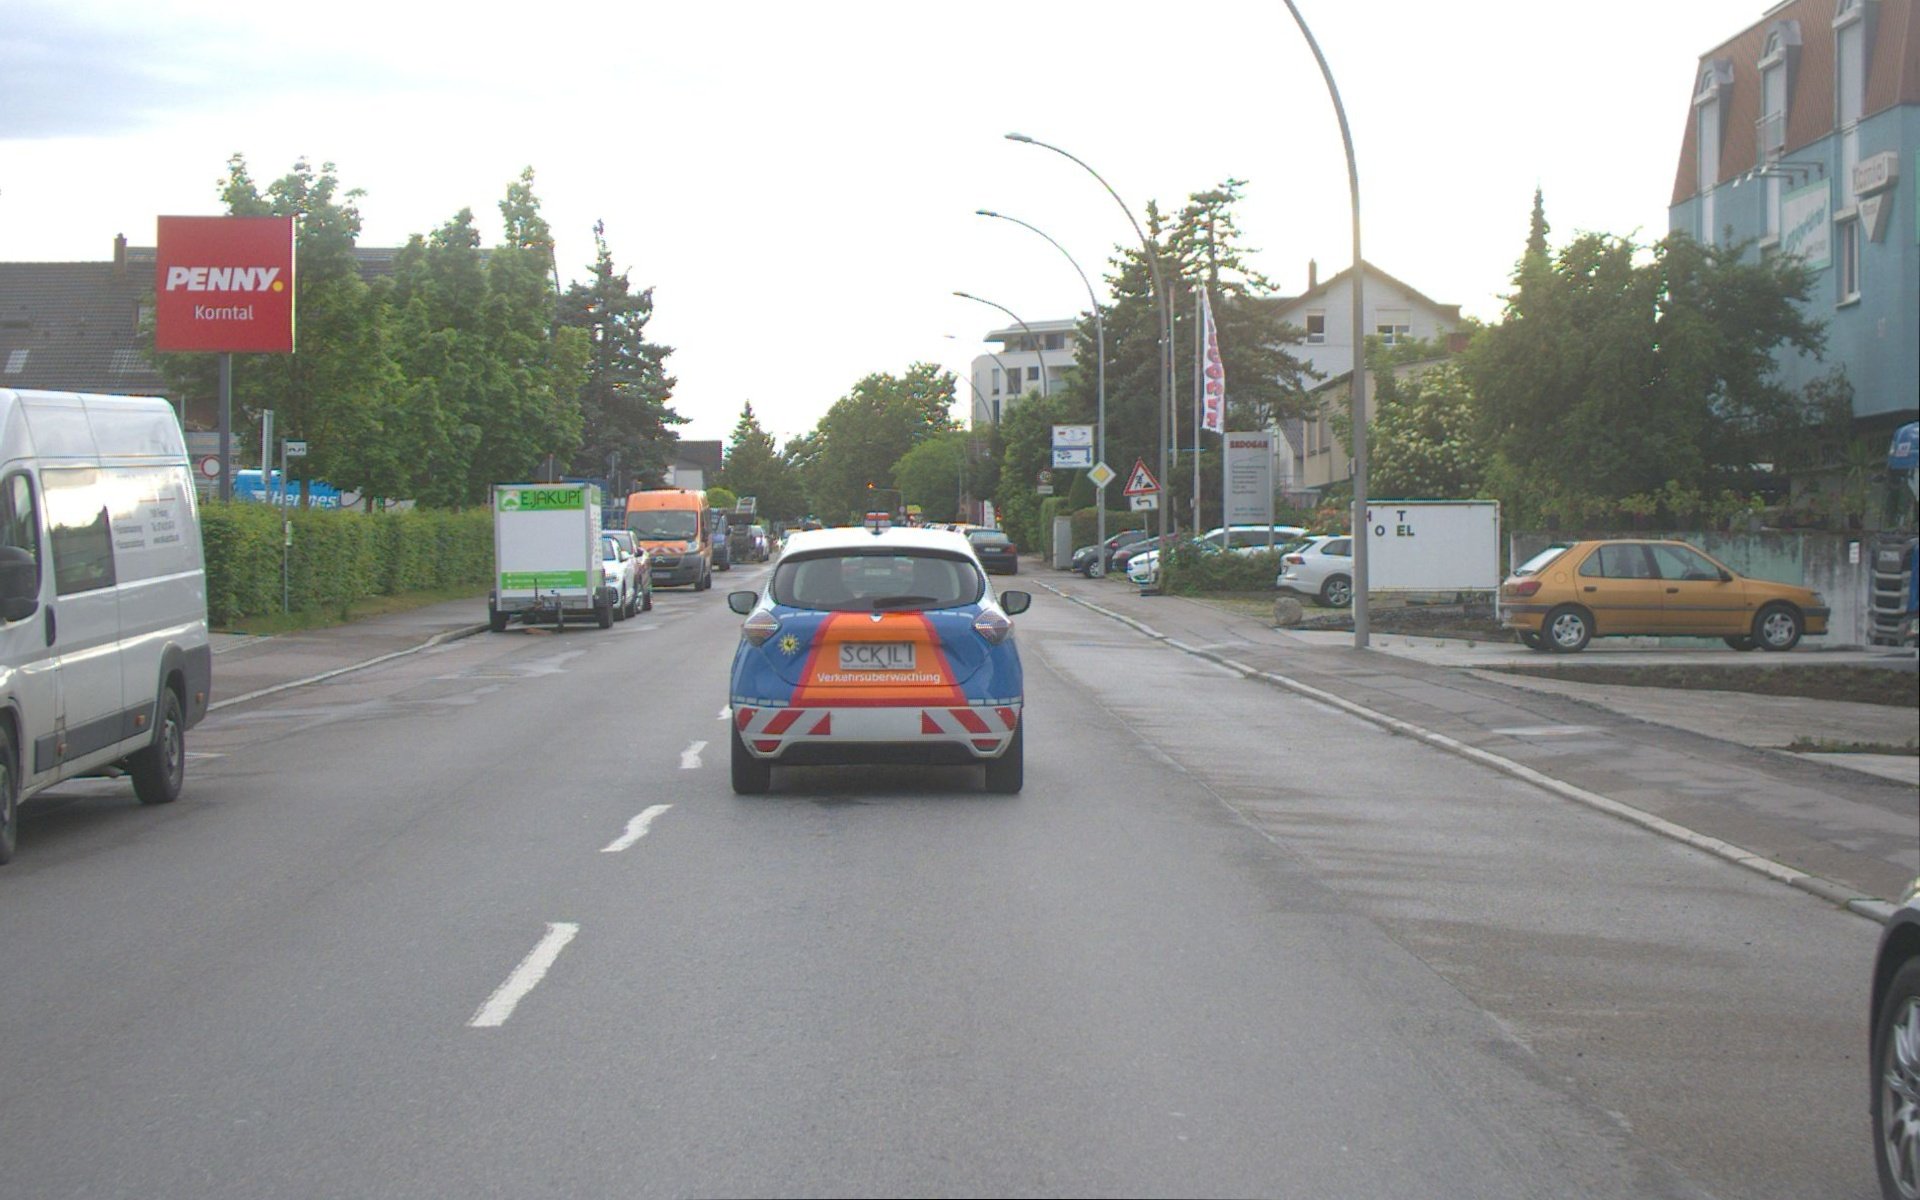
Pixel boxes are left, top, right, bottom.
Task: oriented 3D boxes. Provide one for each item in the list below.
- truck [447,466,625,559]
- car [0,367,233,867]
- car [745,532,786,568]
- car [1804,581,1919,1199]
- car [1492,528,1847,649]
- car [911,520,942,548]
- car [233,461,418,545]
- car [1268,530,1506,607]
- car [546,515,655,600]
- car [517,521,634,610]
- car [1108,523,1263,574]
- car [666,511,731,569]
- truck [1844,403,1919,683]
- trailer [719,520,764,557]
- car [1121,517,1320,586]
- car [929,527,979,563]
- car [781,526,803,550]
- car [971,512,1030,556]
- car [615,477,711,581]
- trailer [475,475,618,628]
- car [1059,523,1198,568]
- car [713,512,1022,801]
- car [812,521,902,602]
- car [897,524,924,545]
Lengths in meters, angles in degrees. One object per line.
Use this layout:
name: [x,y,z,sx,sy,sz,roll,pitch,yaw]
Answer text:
truck: [-14.893,-3.066,120.916,5.911,3.063,2.450,1,1,0]
car: [-5.792,0.066,19.114,2.158,2.418,6.460,-3,1,-1]
car: [-8.095,-2.087,143.370,1.557,1.428,4.000,1,1,-1]
car: [2.978,0.741,5.878,1.738,1.461,4.546,1,1,-2]
car: [8.703,-0.152,42.371,3.986,1.425,1.631,1,1,-3]
car: [-2.063,-4.060,211.122,1.650,1.666,4.001,1,1,-3]
car: [-16.126,-2.449,87.498,4.306,2.007,2.063,1,1,-1]
car: [8.441,-0.627,68.210,4.415,1.388,1.880,1,1,-2]
car: [-6.976,-0.857,66.982,1.805,1.568,4.343,0,2,-2]
car: [-6.832,-0.643,61.365,1.772,1.493,4.137,0,2,-2]
car: [6.007,-1.379,91.902,3.987,1.262,1.951,1,1,1]
car: [-8.999,-2.081,118.473,1.993,1.940,5.366,1,1,-2]
truck: [14.492,-0.649,46.344,4.143,3.661,2.720,3,1,-4]
trailer: [-8.602,-2.446,135.708,1.717,1.256,5.246,1,3,-3]
car: [5.942,-1.112,78.669,4.337,1.470,1.903,1,1,-2]
car: [-0.268,-2.248,140.838,1.711,1.433,4.527,1,1,-4]
car: [-10.853,-4.001,221.713,1.386,1.478,3.784,0,1,-3]
car: [1.270,-2.102,108.917,1.589,1.336,4.093,1,1,-3]
car: [-7.416,-1.807,86.367,2.124,2.529,6.023,0,2,-2]
trailer: [-6.651,-0.810,55.711,1.812,2.306,4.731,-2,1,-2]
car: [5.047,-1.640,103.563,3.986,1.262,1.951,1,1,-3]
car: [-0.588,0.294,21.099,1.731,1.625,3.495,0,1,-2]
car: [-2.082,-0.779,68.428,1.650,1.516,4.001,1,1,-3]
car: [-3.503,-4.625,243.036,1.650,1.478,4.001,1,1,-3]
